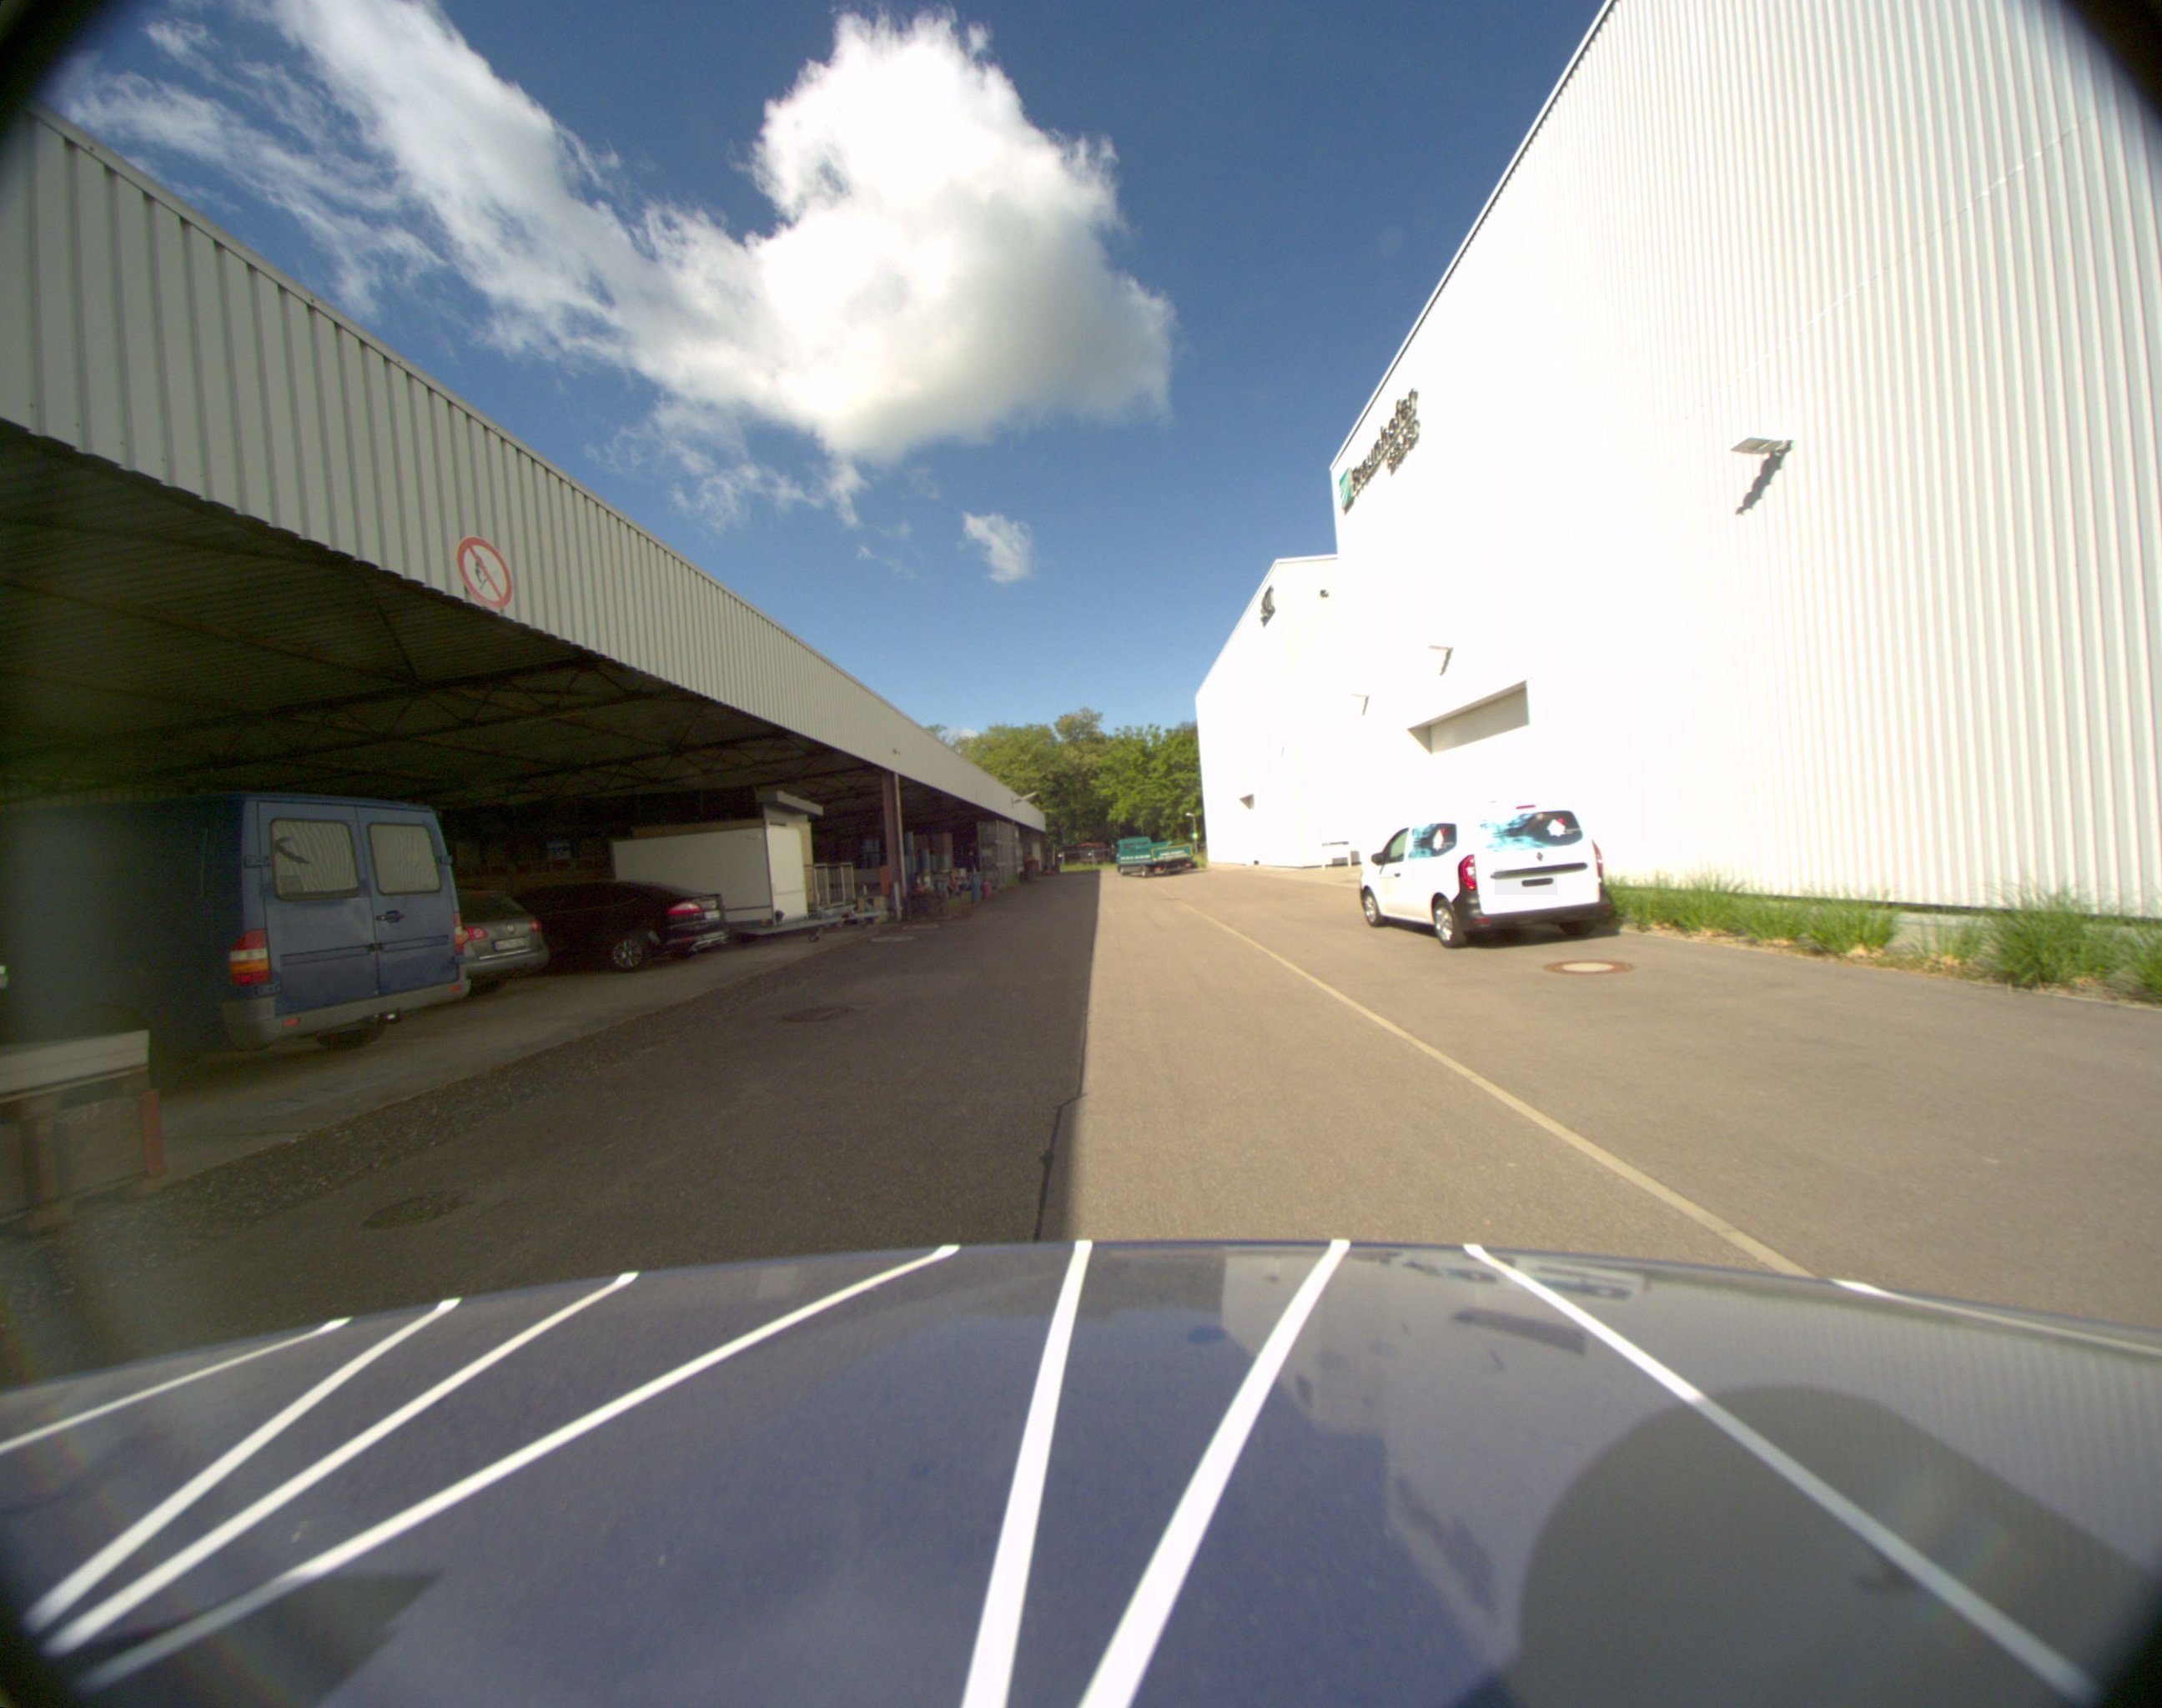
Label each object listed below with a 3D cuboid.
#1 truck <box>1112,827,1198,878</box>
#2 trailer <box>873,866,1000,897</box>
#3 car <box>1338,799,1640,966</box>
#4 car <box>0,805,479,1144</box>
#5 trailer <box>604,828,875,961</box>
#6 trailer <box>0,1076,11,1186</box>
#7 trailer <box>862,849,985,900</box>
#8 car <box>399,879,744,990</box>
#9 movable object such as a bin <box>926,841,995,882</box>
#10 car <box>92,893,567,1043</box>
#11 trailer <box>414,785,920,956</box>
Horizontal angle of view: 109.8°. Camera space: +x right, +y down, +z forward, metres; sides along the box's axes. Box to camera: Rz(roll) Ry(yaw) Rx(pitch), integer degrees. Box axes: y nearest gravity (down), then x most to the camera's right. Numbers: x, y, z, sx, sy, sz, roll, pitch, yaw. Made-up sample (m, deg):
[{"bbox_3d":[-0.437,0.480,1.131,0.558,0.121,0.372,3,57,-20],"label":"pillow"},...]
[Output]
[{"bbox_3d":[4.514,-0.007,48.978,2.589,2.701,9.687,-7,0,-11],"label":"truck"},{"bbox_3d":[-6.917,1.315,36.812,5.748,1.126,2.009,-3,0,0],"label":"trailer"},{"bbox_3d":[5.543,0.330,11.179,1.933,1.779,4.598,-5,0,2],"label":"car"},{"bbox_3d":[-8.554,0.942,6.362,5.229,2.284,2.084,-3,1,1],"label":"car"},{"bbox_3d":[-6.683,0.763,15.170,4.552,2.321,1.689,-2,1,2],"label":"trailer"},{"bbox_3d":[-7.482,1.296,3.735,2.099,1.454,1.641,-3,1,5],"label":"trailer"},{"bbox_3d":[-6.880,0.874,33.471,4.828,1.985,2.047,-3,1,4],"label":"trailer"},{"bbox_3d":[-8.235,1.269,12.619,4.355,1.425,1.864,-2,1,-2],"label":"car"},{"bbox_3d":[-8.714,0.556,55.188,4.626,2.706,2.000,-2,-1,0],"label":"movable object such as a bin"},{"bbox_3d":[-9.202,1.352,9.586,4.117,1.445,1.850,-2,1,1],"label":"car"},{"bbox_3d":[-9.279,0.372,17.754,10.317,3.276,2.675,-2,1,2],"label":"trailer"}]
